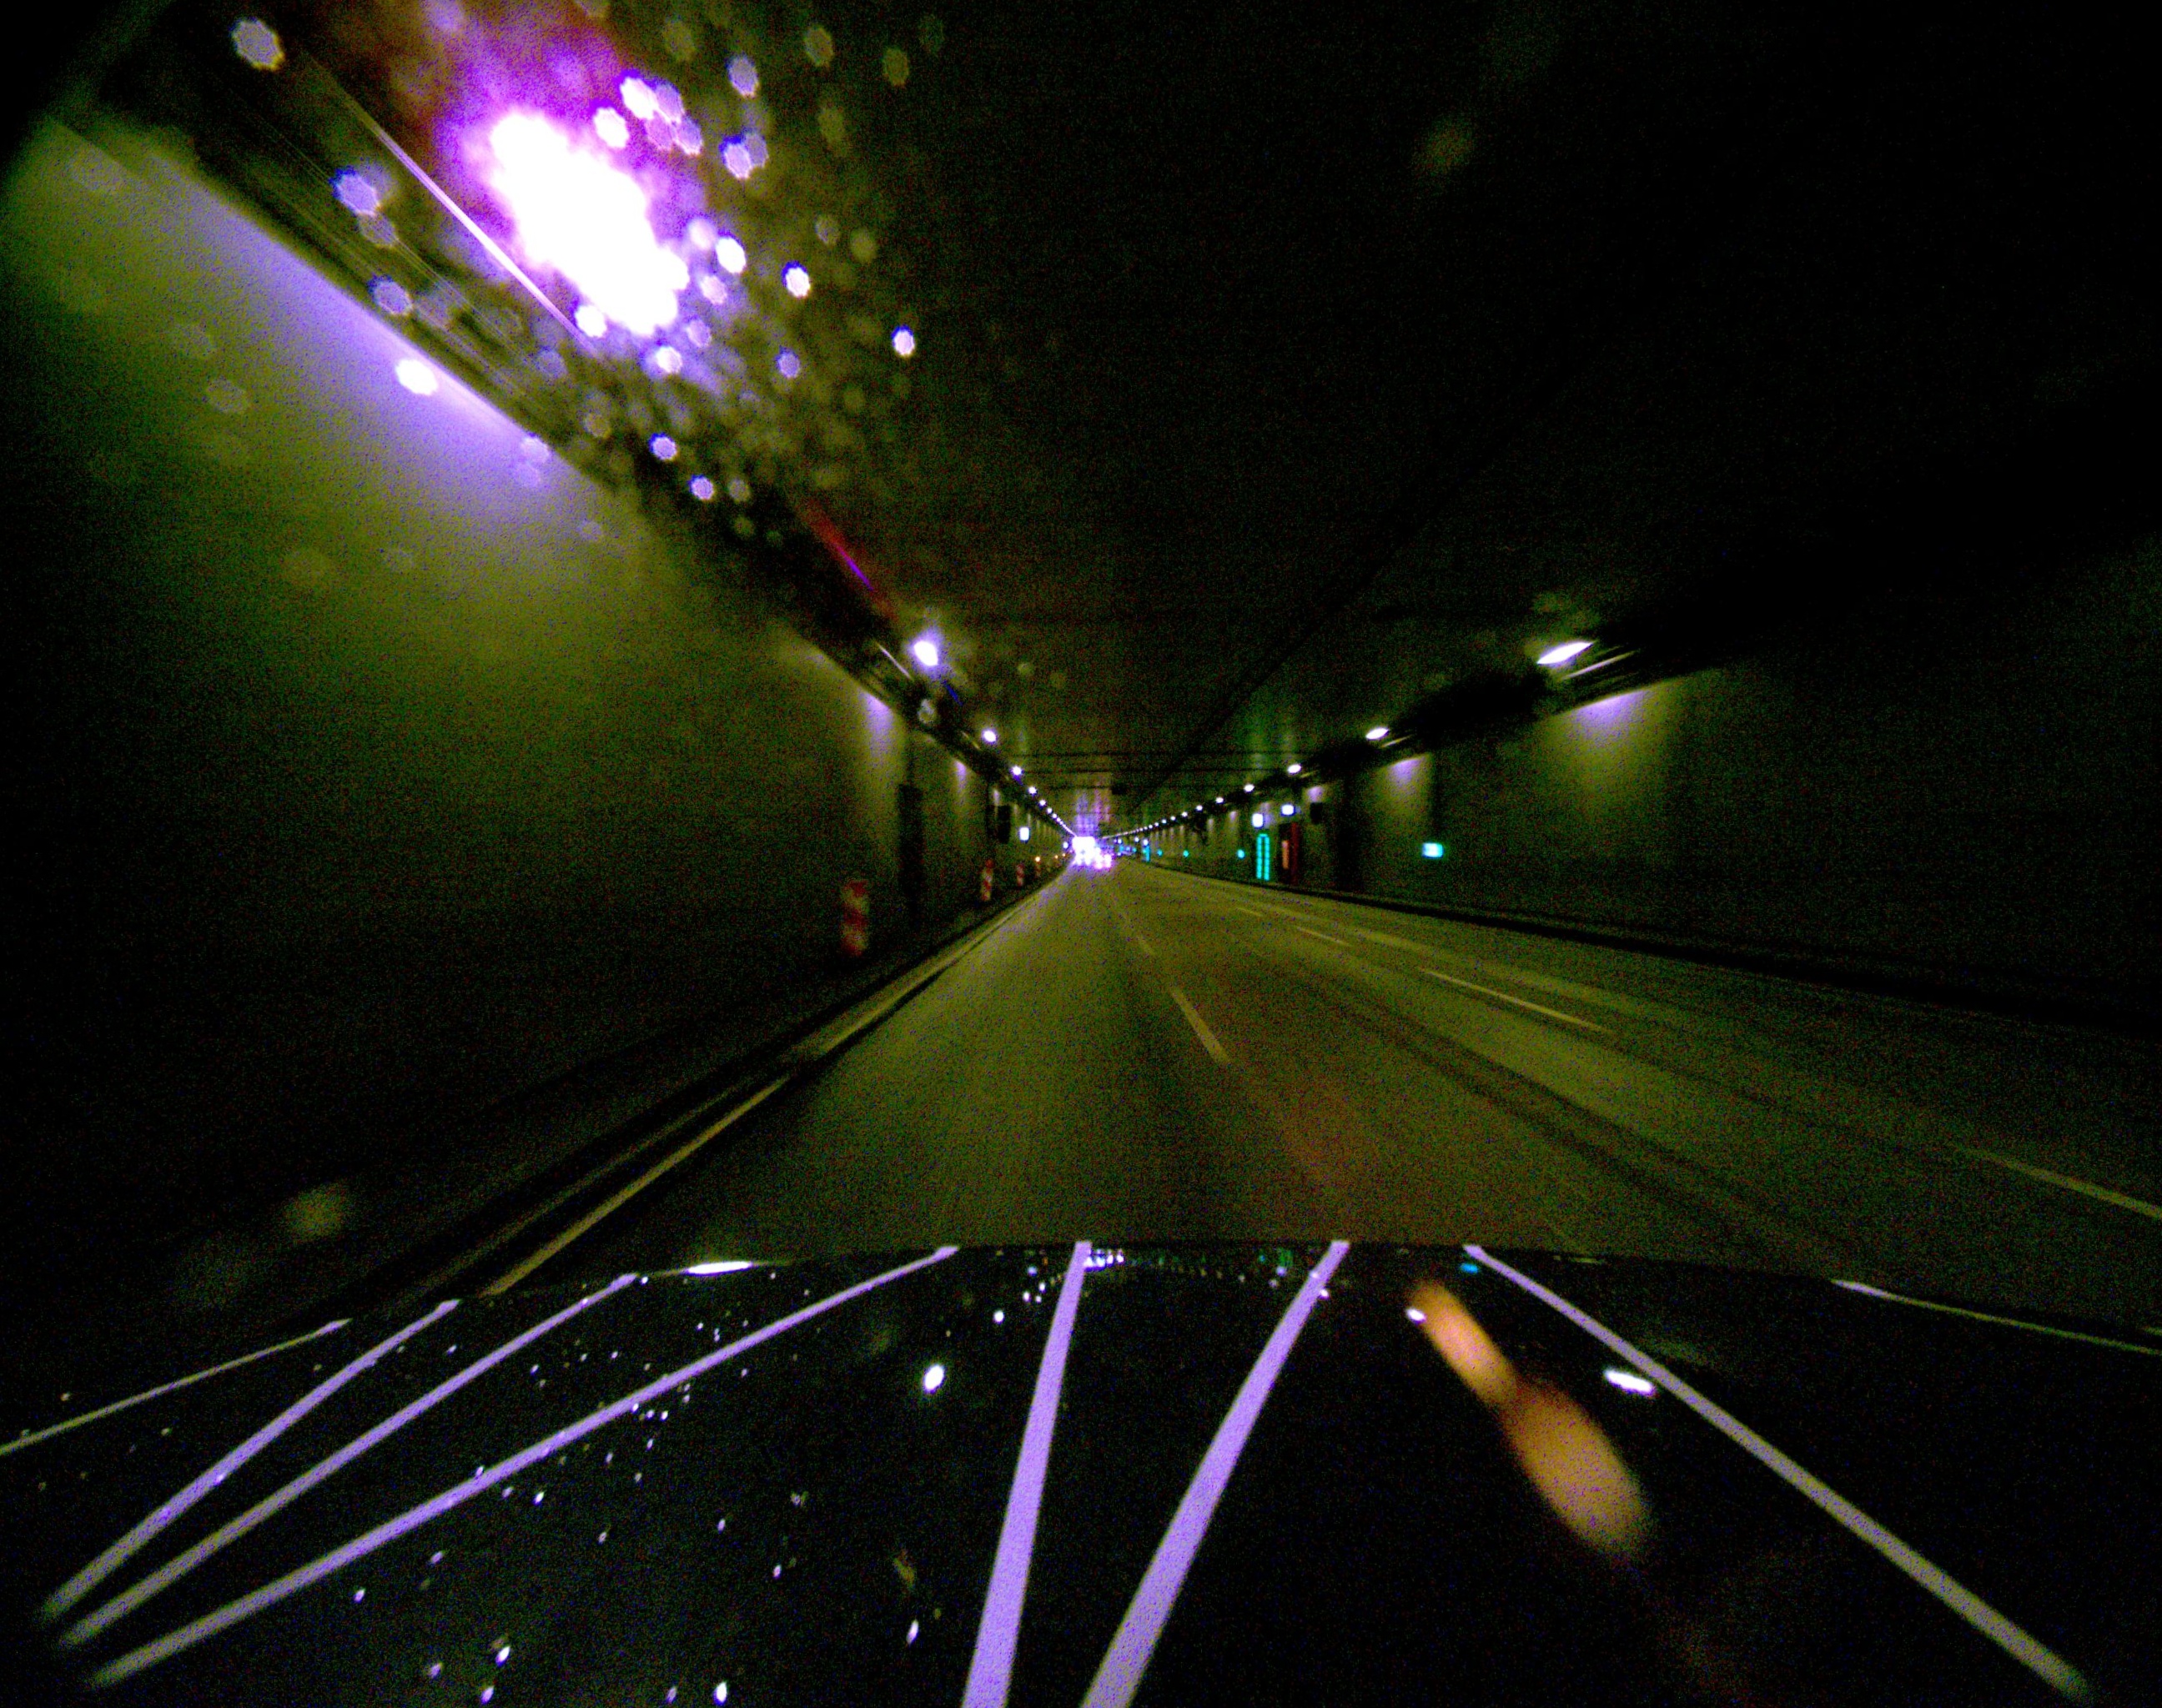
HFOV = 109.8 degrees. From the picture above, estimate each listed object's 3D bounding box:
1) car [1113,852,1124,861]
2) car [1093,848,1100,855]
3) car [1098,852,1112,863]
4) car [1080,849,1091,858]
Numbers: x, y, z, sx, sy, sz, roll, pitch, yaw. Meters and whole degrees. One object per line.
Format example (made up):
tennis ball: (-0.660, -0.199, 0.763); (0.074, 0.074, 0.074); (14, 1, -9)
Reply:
car: (6.979, 0.463, 141.649); (1.998, 1.685, 4.000); (0, 0, 1)
car: (4.407, -0.771, 216.257); (1.998, 1.756, 4.000); (-1, 1, 1)
car: (3.652, 0.508, 116.509); (1.998, 1.685, 4.000); (-1, 0, 0)
car: (0.930, -0.106, 141.659); (1.998, 1.686, 4.000); (-1, 1, 1)
